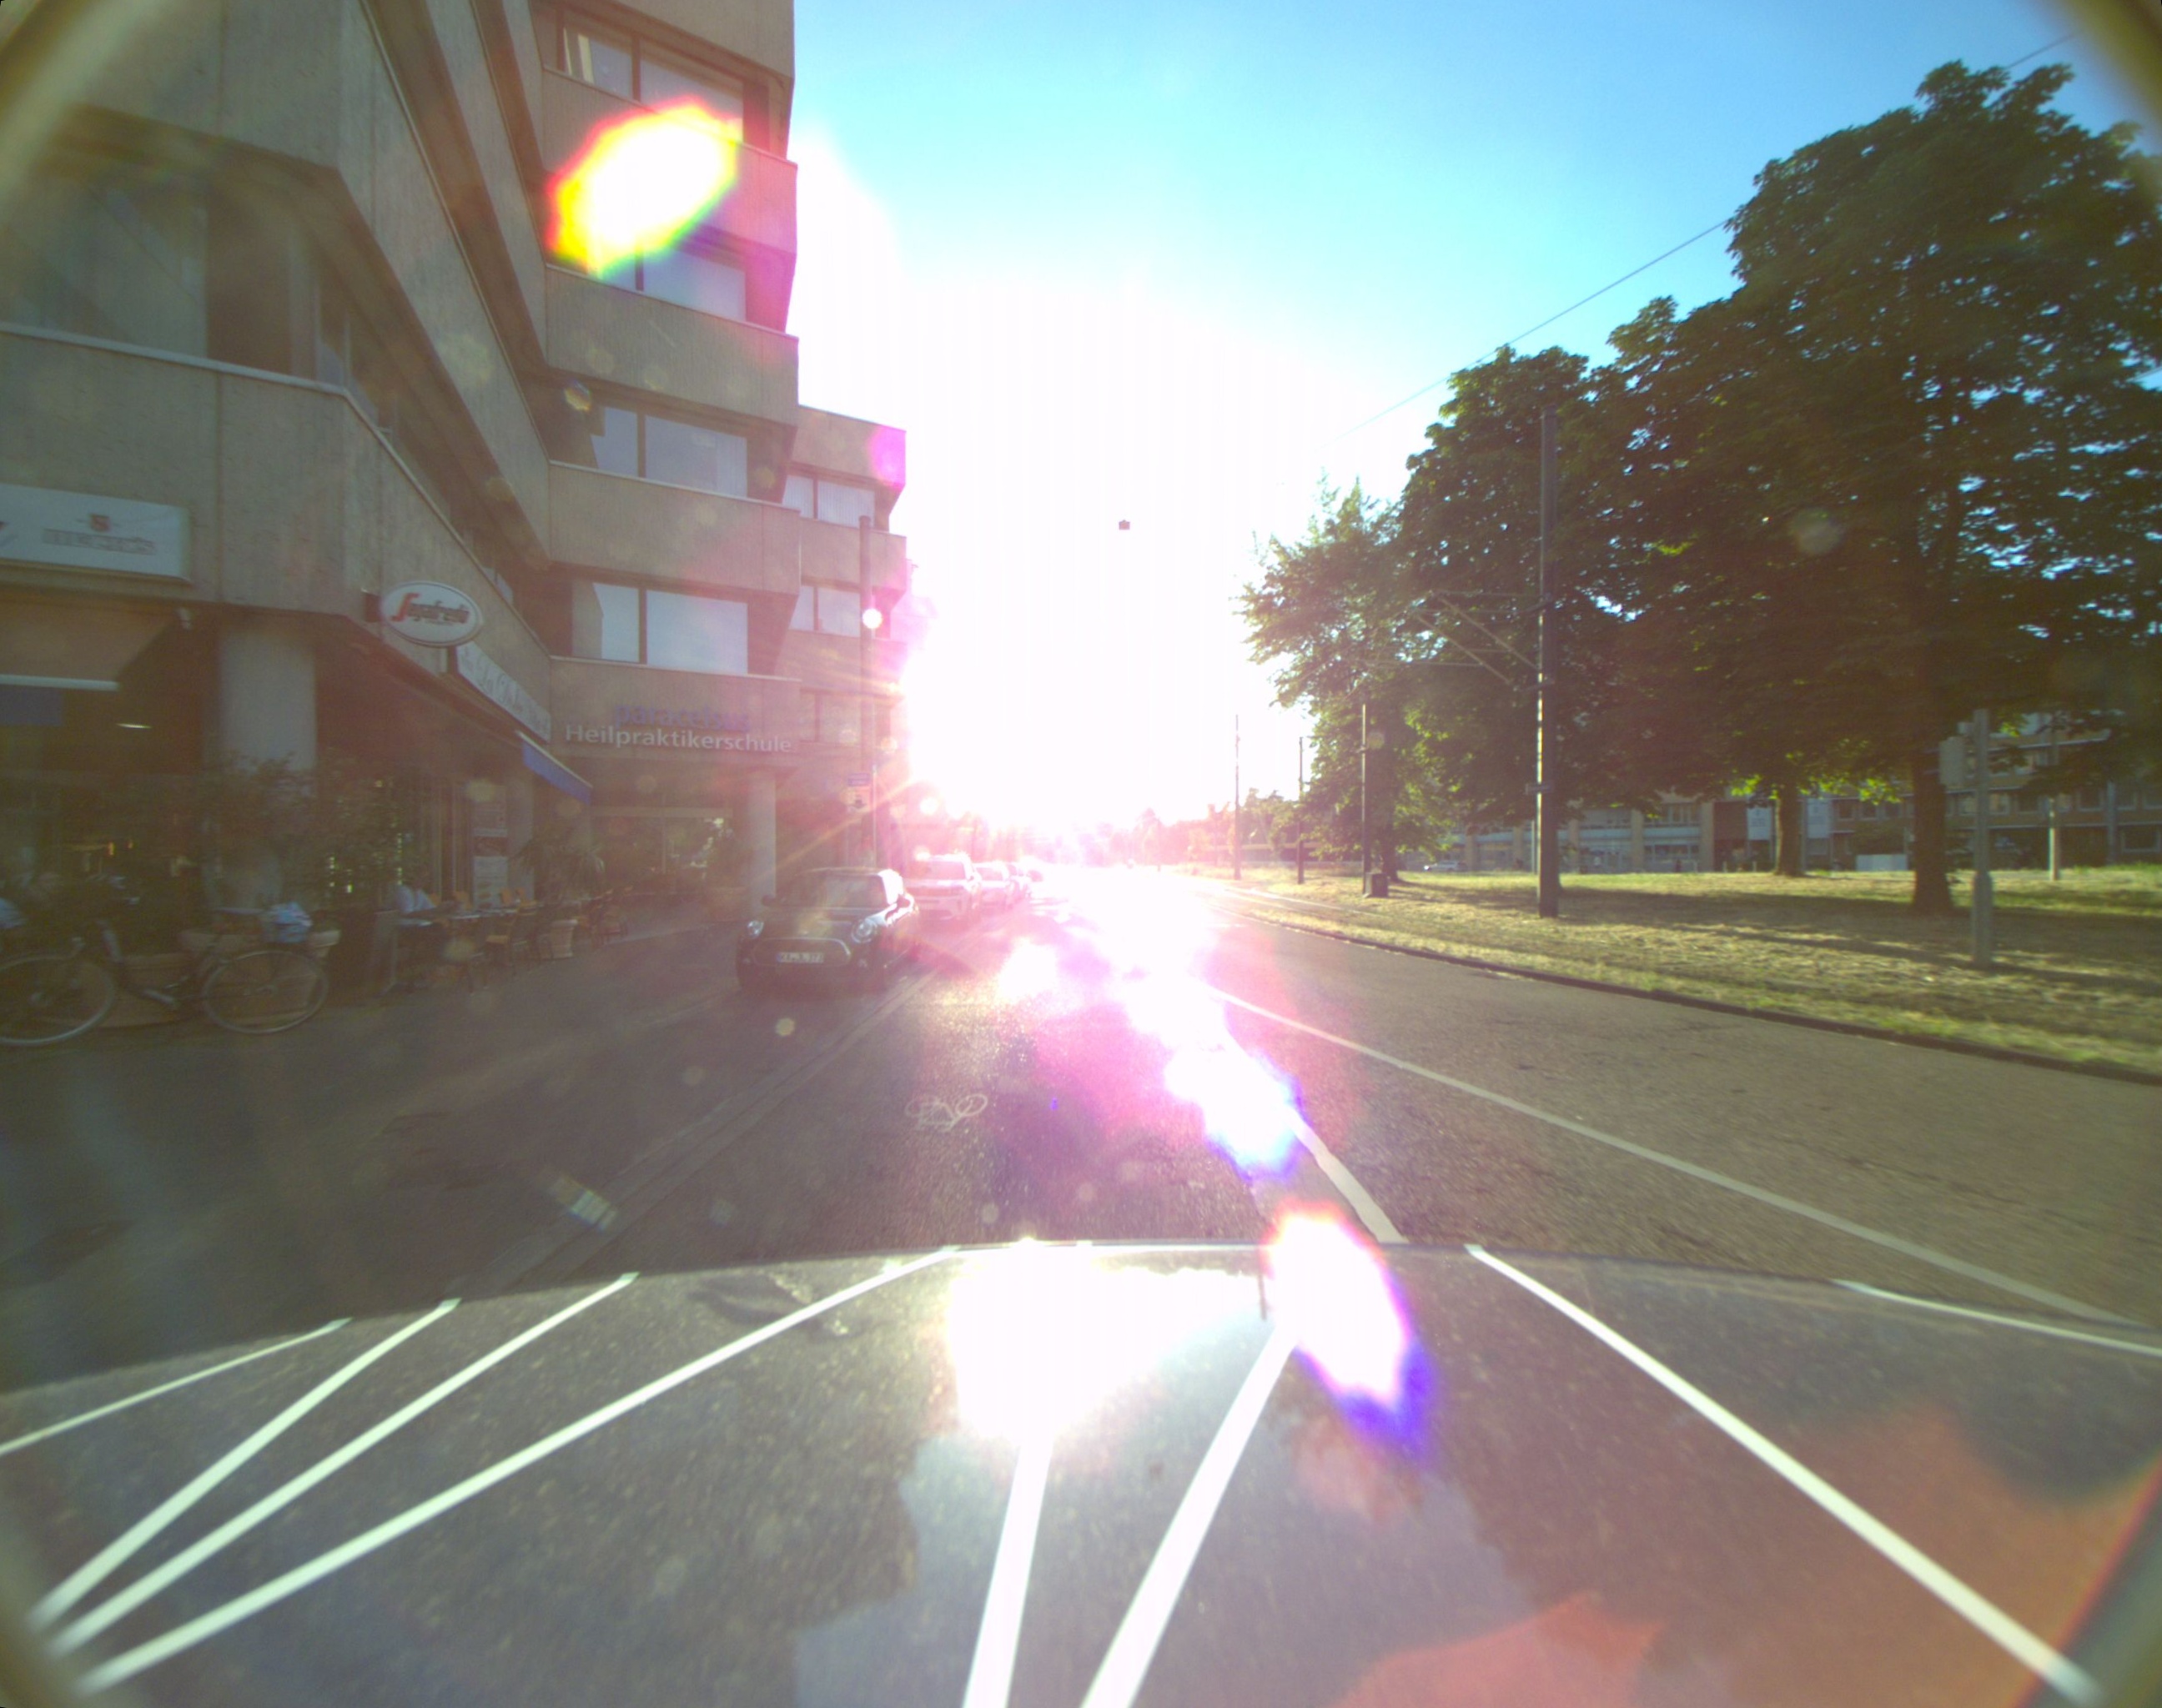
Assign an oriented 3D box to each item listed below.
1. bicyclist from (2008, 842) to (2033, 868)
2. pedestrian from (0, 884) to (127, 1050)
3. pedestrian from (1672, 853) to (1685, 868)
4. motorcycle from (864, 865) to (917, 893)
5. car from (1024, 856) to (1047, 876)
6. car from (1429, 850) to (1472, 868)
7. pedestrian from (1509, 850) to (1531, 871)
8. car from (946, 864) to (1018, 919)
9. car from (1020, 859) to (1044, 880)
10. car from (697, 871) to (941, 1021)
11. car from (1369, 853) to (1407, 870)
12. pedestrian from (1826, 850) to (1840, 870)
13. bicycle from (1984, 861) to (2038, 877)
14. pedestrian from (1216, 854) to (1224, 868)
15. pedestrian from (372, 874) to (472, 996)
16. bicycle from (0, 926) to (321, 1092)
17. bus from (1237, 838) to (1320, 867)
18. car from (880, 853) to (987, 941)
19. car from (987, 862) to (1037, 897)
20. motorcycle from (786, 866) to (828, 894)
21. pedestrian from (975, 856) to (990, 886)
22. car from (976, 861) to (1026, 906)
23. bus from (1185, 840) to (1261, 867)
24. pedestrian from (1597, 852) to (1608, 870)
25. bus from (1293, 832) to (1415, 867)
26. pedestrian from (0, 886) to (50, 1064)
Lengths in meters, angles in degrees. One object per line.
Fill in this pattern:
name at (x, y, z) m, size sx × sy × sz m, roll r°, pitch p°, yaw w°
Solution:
bicyclist at (61.504, 0.057, 49.753) m, size 0.895 × 1.681 × 0.955 m, roll -2°, pitch 0°, yaw 44°
pedestrian at (-8.425, 0.888, 6.158) m, size 0.706 × 1.270 × 0.537 m, roll 0°, pitch 0°, yaw 0°
pedestrian at (53.536, 0.574, 68.061) m, size 0.568 × 1.316 × 0.682 m, roll -2°, pitch 0°, yaw -28°
motorcycle at (-8.928, 1.152, 35.667) m, size 2.283 × 1.183 × 0.704 m, roll -2°, pitch 1°, yaw -9°
car at (-3.907, 1.032, 65.208) m, size 1.809 × 1.660 × 4.812 m, roll -2°, pitch -1°, yaw -3°
car at (41.655, 0.562, 85.745) m, size 1.858 × 2.002 × 3.902 m, roll -2°, pitch 0°, yaw -30°
pedestrian at (43.805, 0.647, 75.830) m, size 1.061 × 2.082 × 1.630 m, roll -2°, pitch 0°, yaw -34°
car at (-2.997, 1.097, 23.616) m, size 1.645 × 1.519 × 4.000 m, roll -2°, pitch 0°, yaw 0°
car at (-3.835, 1.183, 60.048) m, size 1.655 × 1.525 × 4.066 m, roll -2°, pitch 0°, yaw -1°
car at (-3.163, 1.030, 10.079) m, size 1.794 × 1.498 × 3.921 m, roll -2°, pitch 0°, yaw 1°
car at (37.704, 0.894, 93.311) m, size 1.914 × 2.002 × 3.991 m, roll -2°, pitch 0°, yaw -30°
pedestrian at (59.014, 0.472, 59.644) m, size 0.567 × 1.529 × 0.575 m, roll -2°, pitch 0°, yaw -27°
bicycle at (61.231, 0.993, 50.038) m, size 2.195 × 1.005 × 0.473 m, roll -3°, pitch -1°, yaw 43°
pedestrian at (15.012, 0.726, 81.984) m, size 0.672 × 1.450 × 0.699 m, roll -2°, pitch 0°, yaw -4°
pedestrian at (-7.638, 0.905, 8.851) m, size 0.764 × 1.290 × 0.708 m, roll -2°, pitch 1°, yaw -35°
bicycle at (-6.845, 1.068, 5.461) m, size 1.896 × 0.999 × 0.457 m, roll 2°, pitch 0°, yaw -39°
bus at (23.948, -0.128, 93.069) m, size 3.765 × 3.311 × 10.716 m, roll -2°, pitch 0°, yaw -25°
car at (-3.370, 0.922, 18.174) m, size 1.788 × 1.794 × 4.401 m, roll -2°, pitch 0°, yaw -2°
car at (-3.092, 1.139, 34.846) m, size 1.789 × 1.448 × 4.000 m, roll -1°, pitch 0°, yaw 1°
motorcycle at (-12.906, 1.203, 35.831) m, size 1.793 × 1.285 × 0.670 m, roll 0°, pitch 0°, yaw 15°
pedestrian at (-6.087, 1.052, 46.988) m, size 0.641 × 1.775 × 0.855 m, roll -2°, pitch 0°, yaw -24°
car at (-3.079, 1.108, 29.820) m, size 1.589 × 1.581 × 3.667 m, roll -2°, pitch 0°, yaw -2°
bus at (19.107, 0.018, 103.416) m, size 3.765 × 3.435 × 12.109 m, roll -2°, pitch 0°, yaw -25°
pedestrian at (50.806, 0.699, 74.062) m, size 0.532 × 1.682 × 0.617 m, roll -2°, pitch 0°, yaw -17°
bus at (29.056, -0.390, 81.995) m, size 3.765 × 3.342 × 13.687 m, roll -2°, pitch 0°, yaw -25°
pedestrian at (-8.193, 0.881, 5.433) m, size 0.642 × 1.288 × 0.706 m, roll 1°, pitch 0°, yaw -9°
